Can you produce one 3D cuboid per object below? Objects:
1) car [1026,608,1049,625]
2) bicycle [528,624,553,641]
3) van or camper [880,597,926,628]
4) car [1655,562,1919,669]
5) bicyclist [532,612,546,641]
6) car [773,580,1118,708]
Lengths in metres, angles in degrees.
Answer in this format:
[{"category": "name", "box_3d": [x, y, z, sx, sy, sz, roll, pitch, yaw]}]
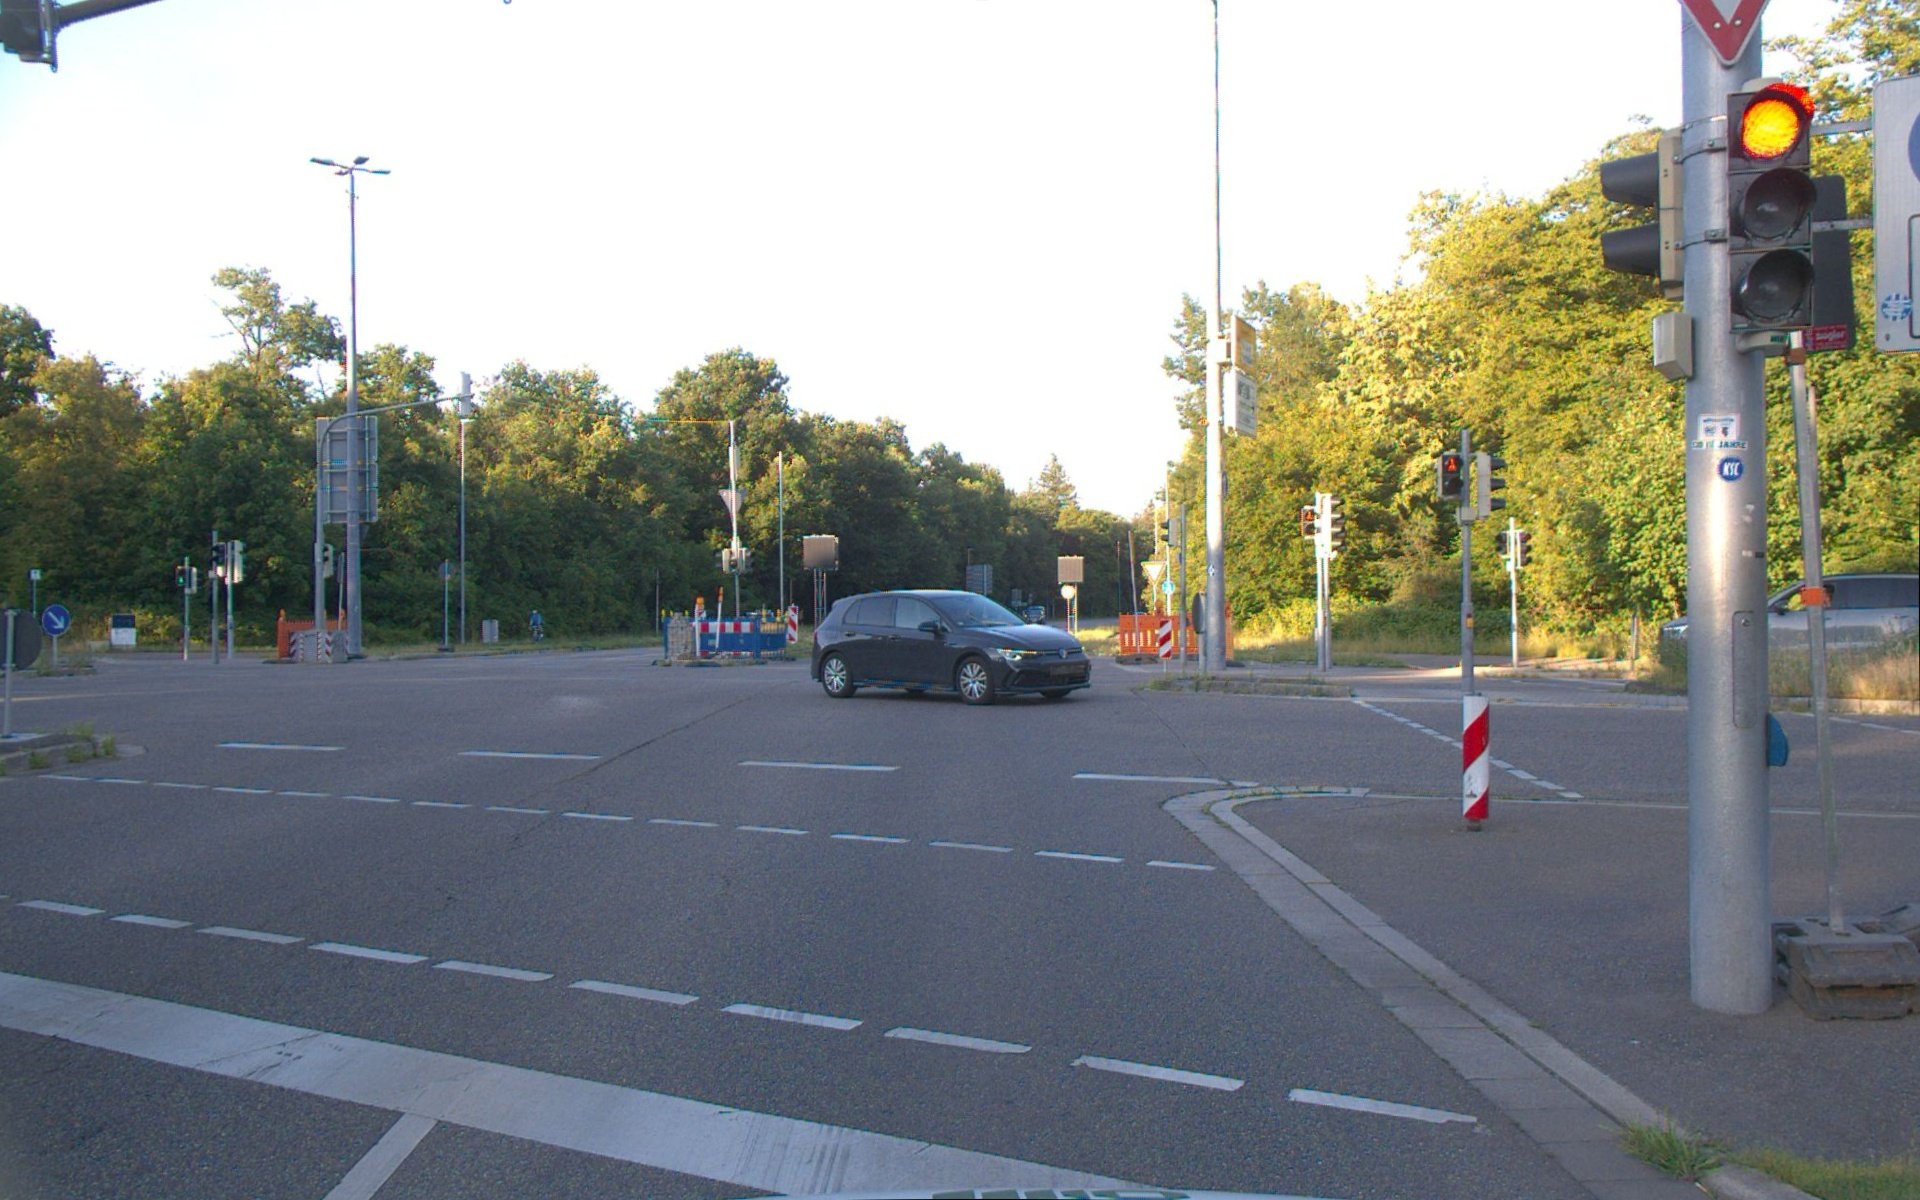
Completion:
[{"category": "car", "box_3d": [8.721, 1.857, 185.575, 1.951, 1.668, 4.004, -2, 1, 11]}, {"category": "bicycle", "box_3d": [-20.523, 1.593, 80.900, 1.096, 0.840, 0.407, 0, 0, -42]}, {"category": "van or camper", "box_3d": [-5.146, 1.114, 149.576, 2.823, 2.699, 7.128, 0, 0, 9]}, {"category": "car", "box_3d": [13.749, 0.244, 26.496, 4.716, 1.626, 2.000, -1, 0, 21]}, {"category": "bicyclist", "box_3d": [-20.575, 1.298, 80.859, 0.515, 1.411, 0.401, 0, 0, -42]}, {"category": "car", "box_3d": [-0.279, 0.540, 22.412, 4.596, 1.556, 1.987, 0, 0, 43]}]
